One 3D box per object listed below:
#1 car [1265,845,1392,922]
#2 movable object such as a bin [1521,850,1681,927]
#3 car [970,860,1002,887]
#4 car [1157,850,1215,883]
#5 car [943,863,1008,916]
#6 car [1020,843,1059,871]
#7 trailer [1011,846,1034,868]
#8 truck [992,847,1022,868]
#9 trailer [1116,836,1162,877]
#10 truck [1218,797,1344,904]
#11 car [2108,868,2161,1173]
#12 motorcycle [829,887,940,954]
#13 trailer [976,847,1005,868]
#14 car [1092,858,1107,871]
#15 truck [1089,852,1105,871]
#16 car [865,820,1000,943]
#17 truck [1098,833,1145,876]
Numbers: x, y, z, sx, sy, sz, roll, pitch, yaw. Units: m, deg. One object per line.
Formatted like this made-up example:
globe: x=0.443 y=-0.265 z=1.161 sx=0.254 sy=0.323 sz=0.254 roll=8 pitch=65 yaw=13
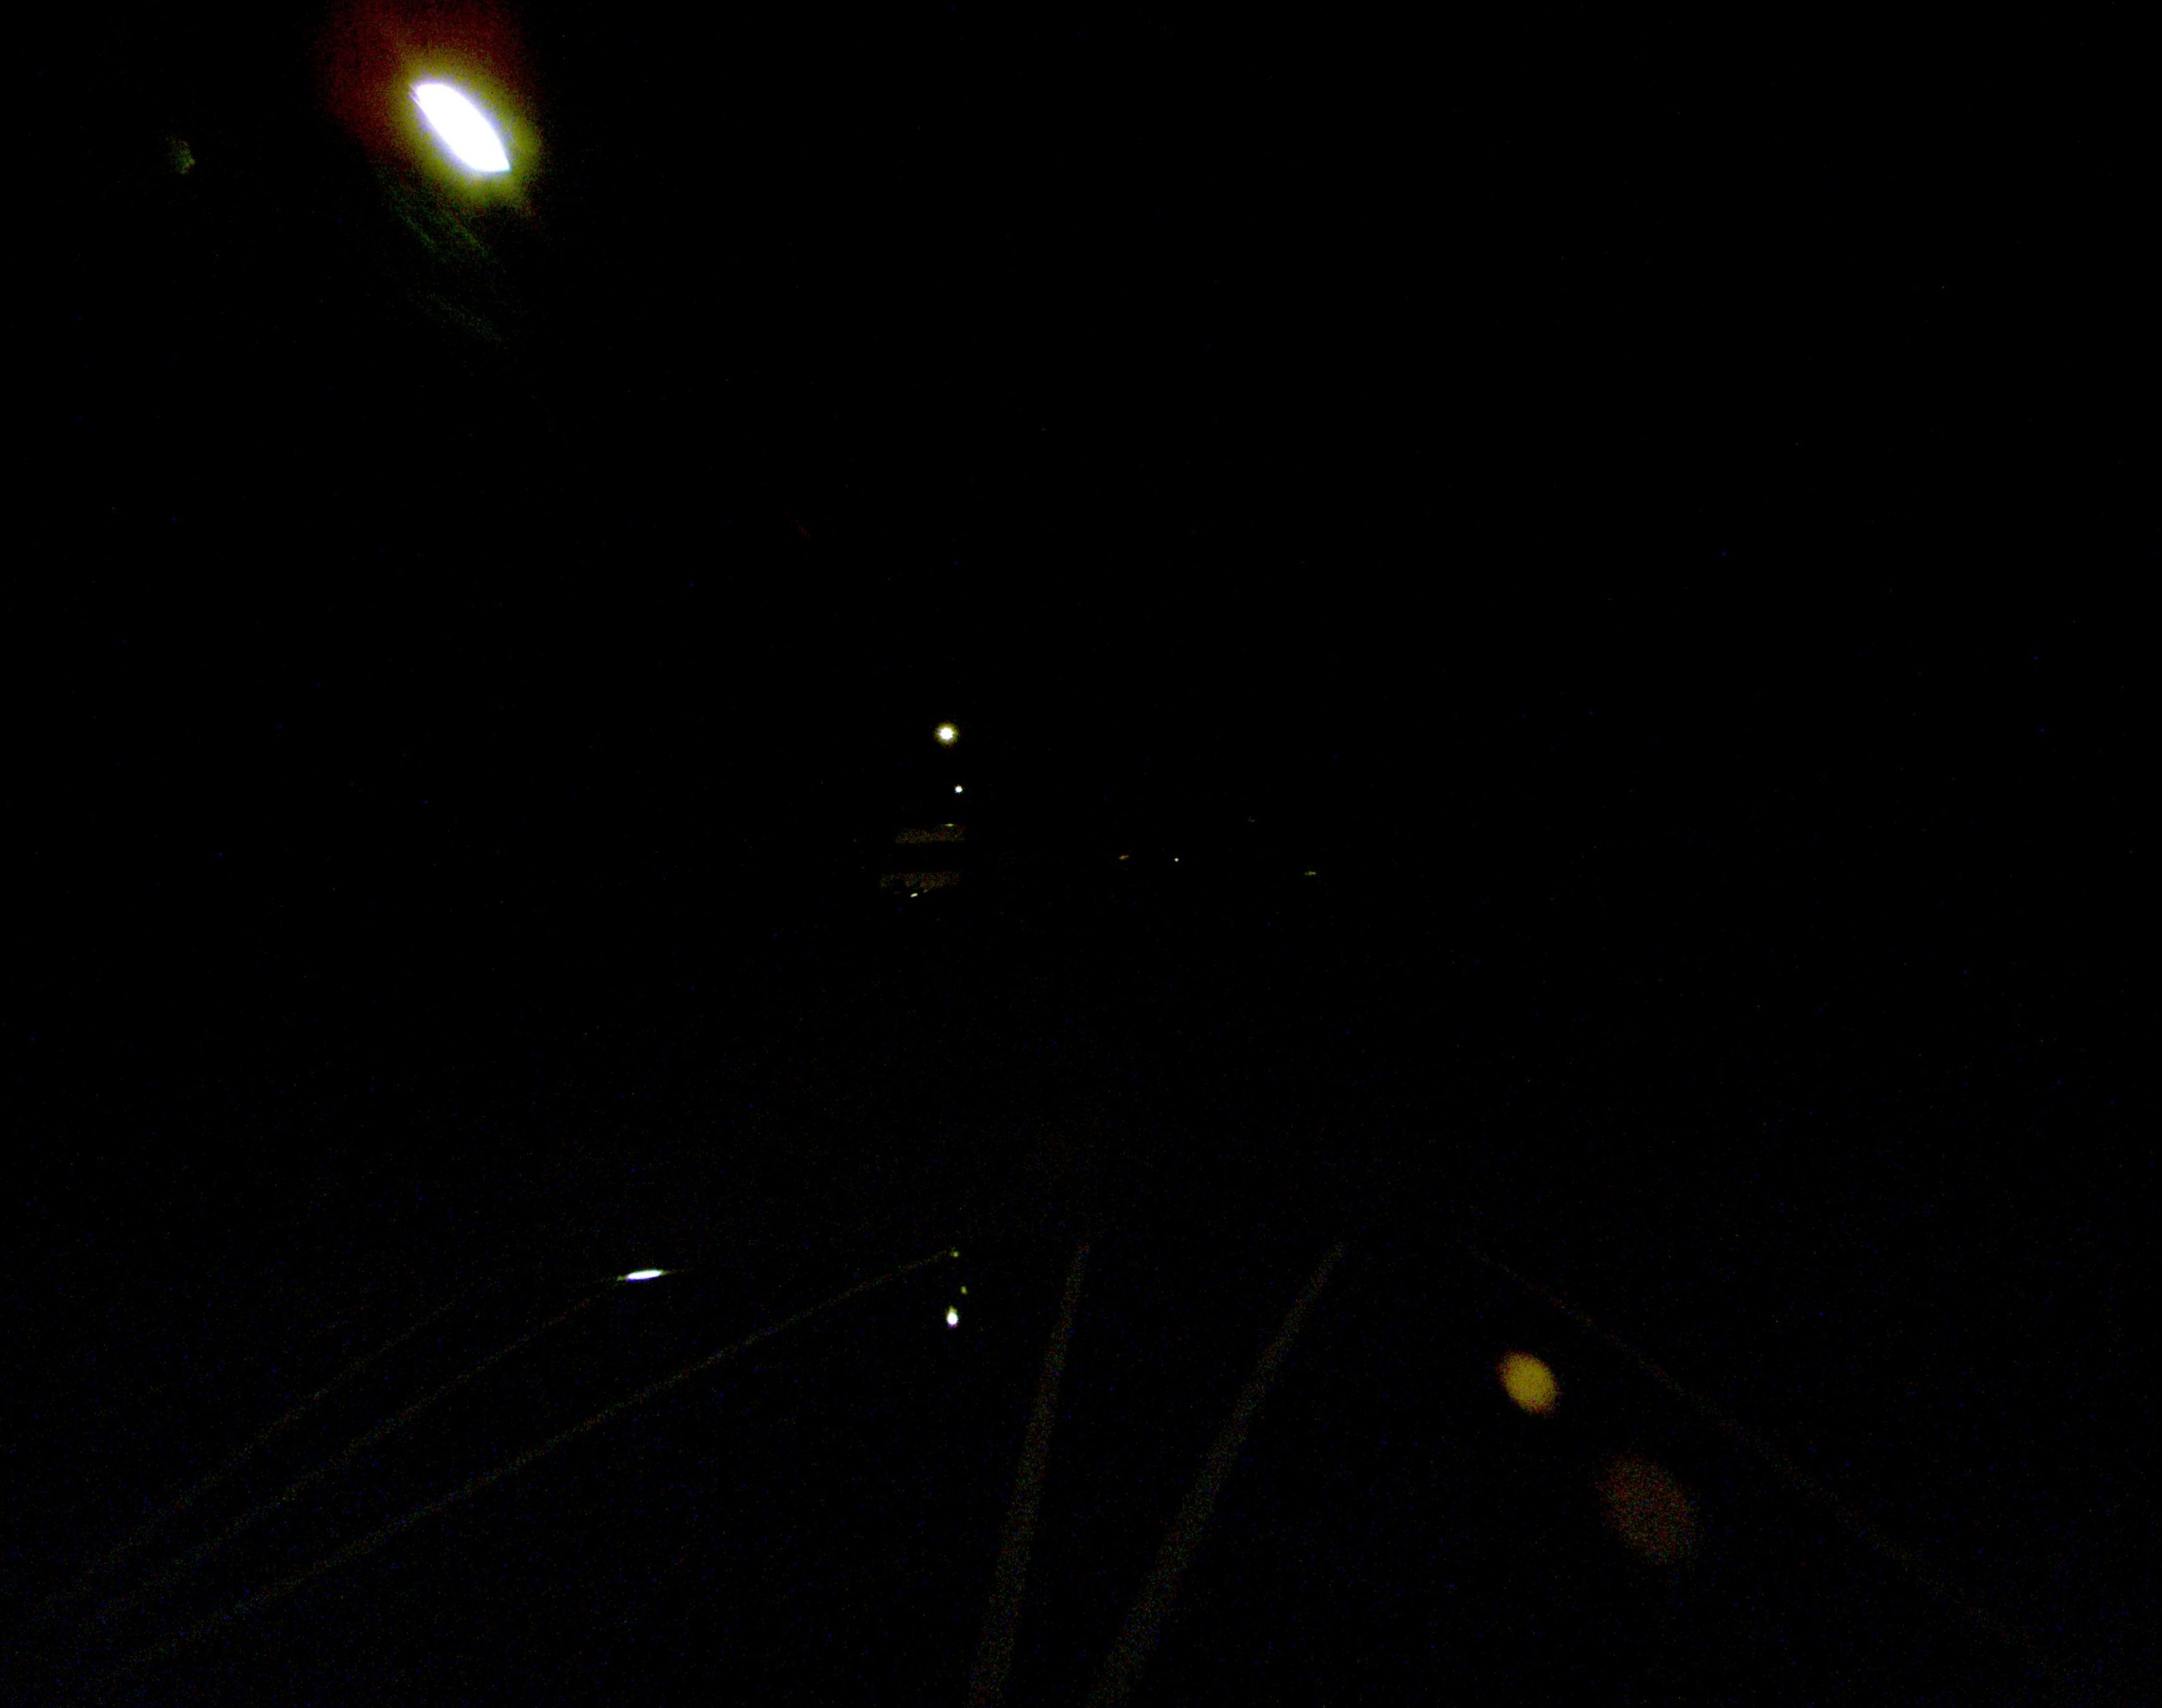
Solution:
car: x=6.422 y=0.711 z=20.366 sx=1.834 sy=1.806 sz=4.838 roll=-1 pitch=0 yaw=0
movable object such as a bin: x=10.718 y=0.693 z=15.784 sx=2.341 sy=1.486 sz=1.416 roll=-1 pitch=0 yaw=7
car: x=-5.786 y=1.144 z=46.077 sx=1.716 sy=1.499 sz=3.996 roll=-2 pitch=0 yaw=-10
car: x=5.908 y=0.684 z=43.394 sx=2.000 sy=1.761 sz=4.688 roll=-1 pitch=0 yaw=-9
car: x=-3.550 y=1.160 z=26.352 sx=1.715 sy=1.499 sz=4.639 roll=-4 pitch=0 yaw=-3
car: x=-5.063 y=0.357 z=90.964 sx=2.392 sy=3.224 sz=7.218 roll=-1 pitch=0 yaw=-22
trailer: x=-7.534 y=0.449 z=97.773 sx=2.005 sy=2.749 sz=3.994 roll=1 pitch=-1 yaw=-17
truck: x=-10.220 y=0.500 z=103.902 sx=2.002 sy=2.767 sz=7.230 roll=-1 pitch=0 yaw=-22
trailer: x=4.149 y=0.187 z=54.877 sx=2.212 sy=2.779 sz=4.612 roll=-1 pitch=0 yaw=-10
truck: x=6.864 y=-0.097 z=27.232 sx=2.550 sy=3.261 sz=7.312 roll=-1 pitch=0 yaw=0
car: x=6.080 y=0.816 z=1.768 sx=1.759 sy=1.517 sz=4.324 roll=-1 pitch=0 yaw=6
motorcycle: x=-3.841 y=1.274 z=14.790 sx=2.180 sy=1.177 sz=0.770 roll=-2 pitch=0 yaw=33
trailer: x=-13.381 y=0.525 z=112.265 sx=2.493 sy=3.054 sz=7.941 roll=-1 pitch=0 yaw=-20
car: x=2.363 y=1.302 z=97.960 sx=1.862 sy=1.630 sz=4.000 roll=0 pitch=0 yaw=-1
truck: x=2.241 y=1.029 z=107.934 sx=2.138 sy=2.597 sz=7.099 roll=0 pitch=0 yaw=0
car: x=-3.452 y=0.585 z=19.070 sx=2.026 sy=2.512 sz=6.051 roll=-2 pitch=0 yaw=1
truck: x=3.188 y=0.059 z=61.502 sx=2.381 sy=3.224 sz=7.226 roll=-1 pitch=0 yaw=-8
